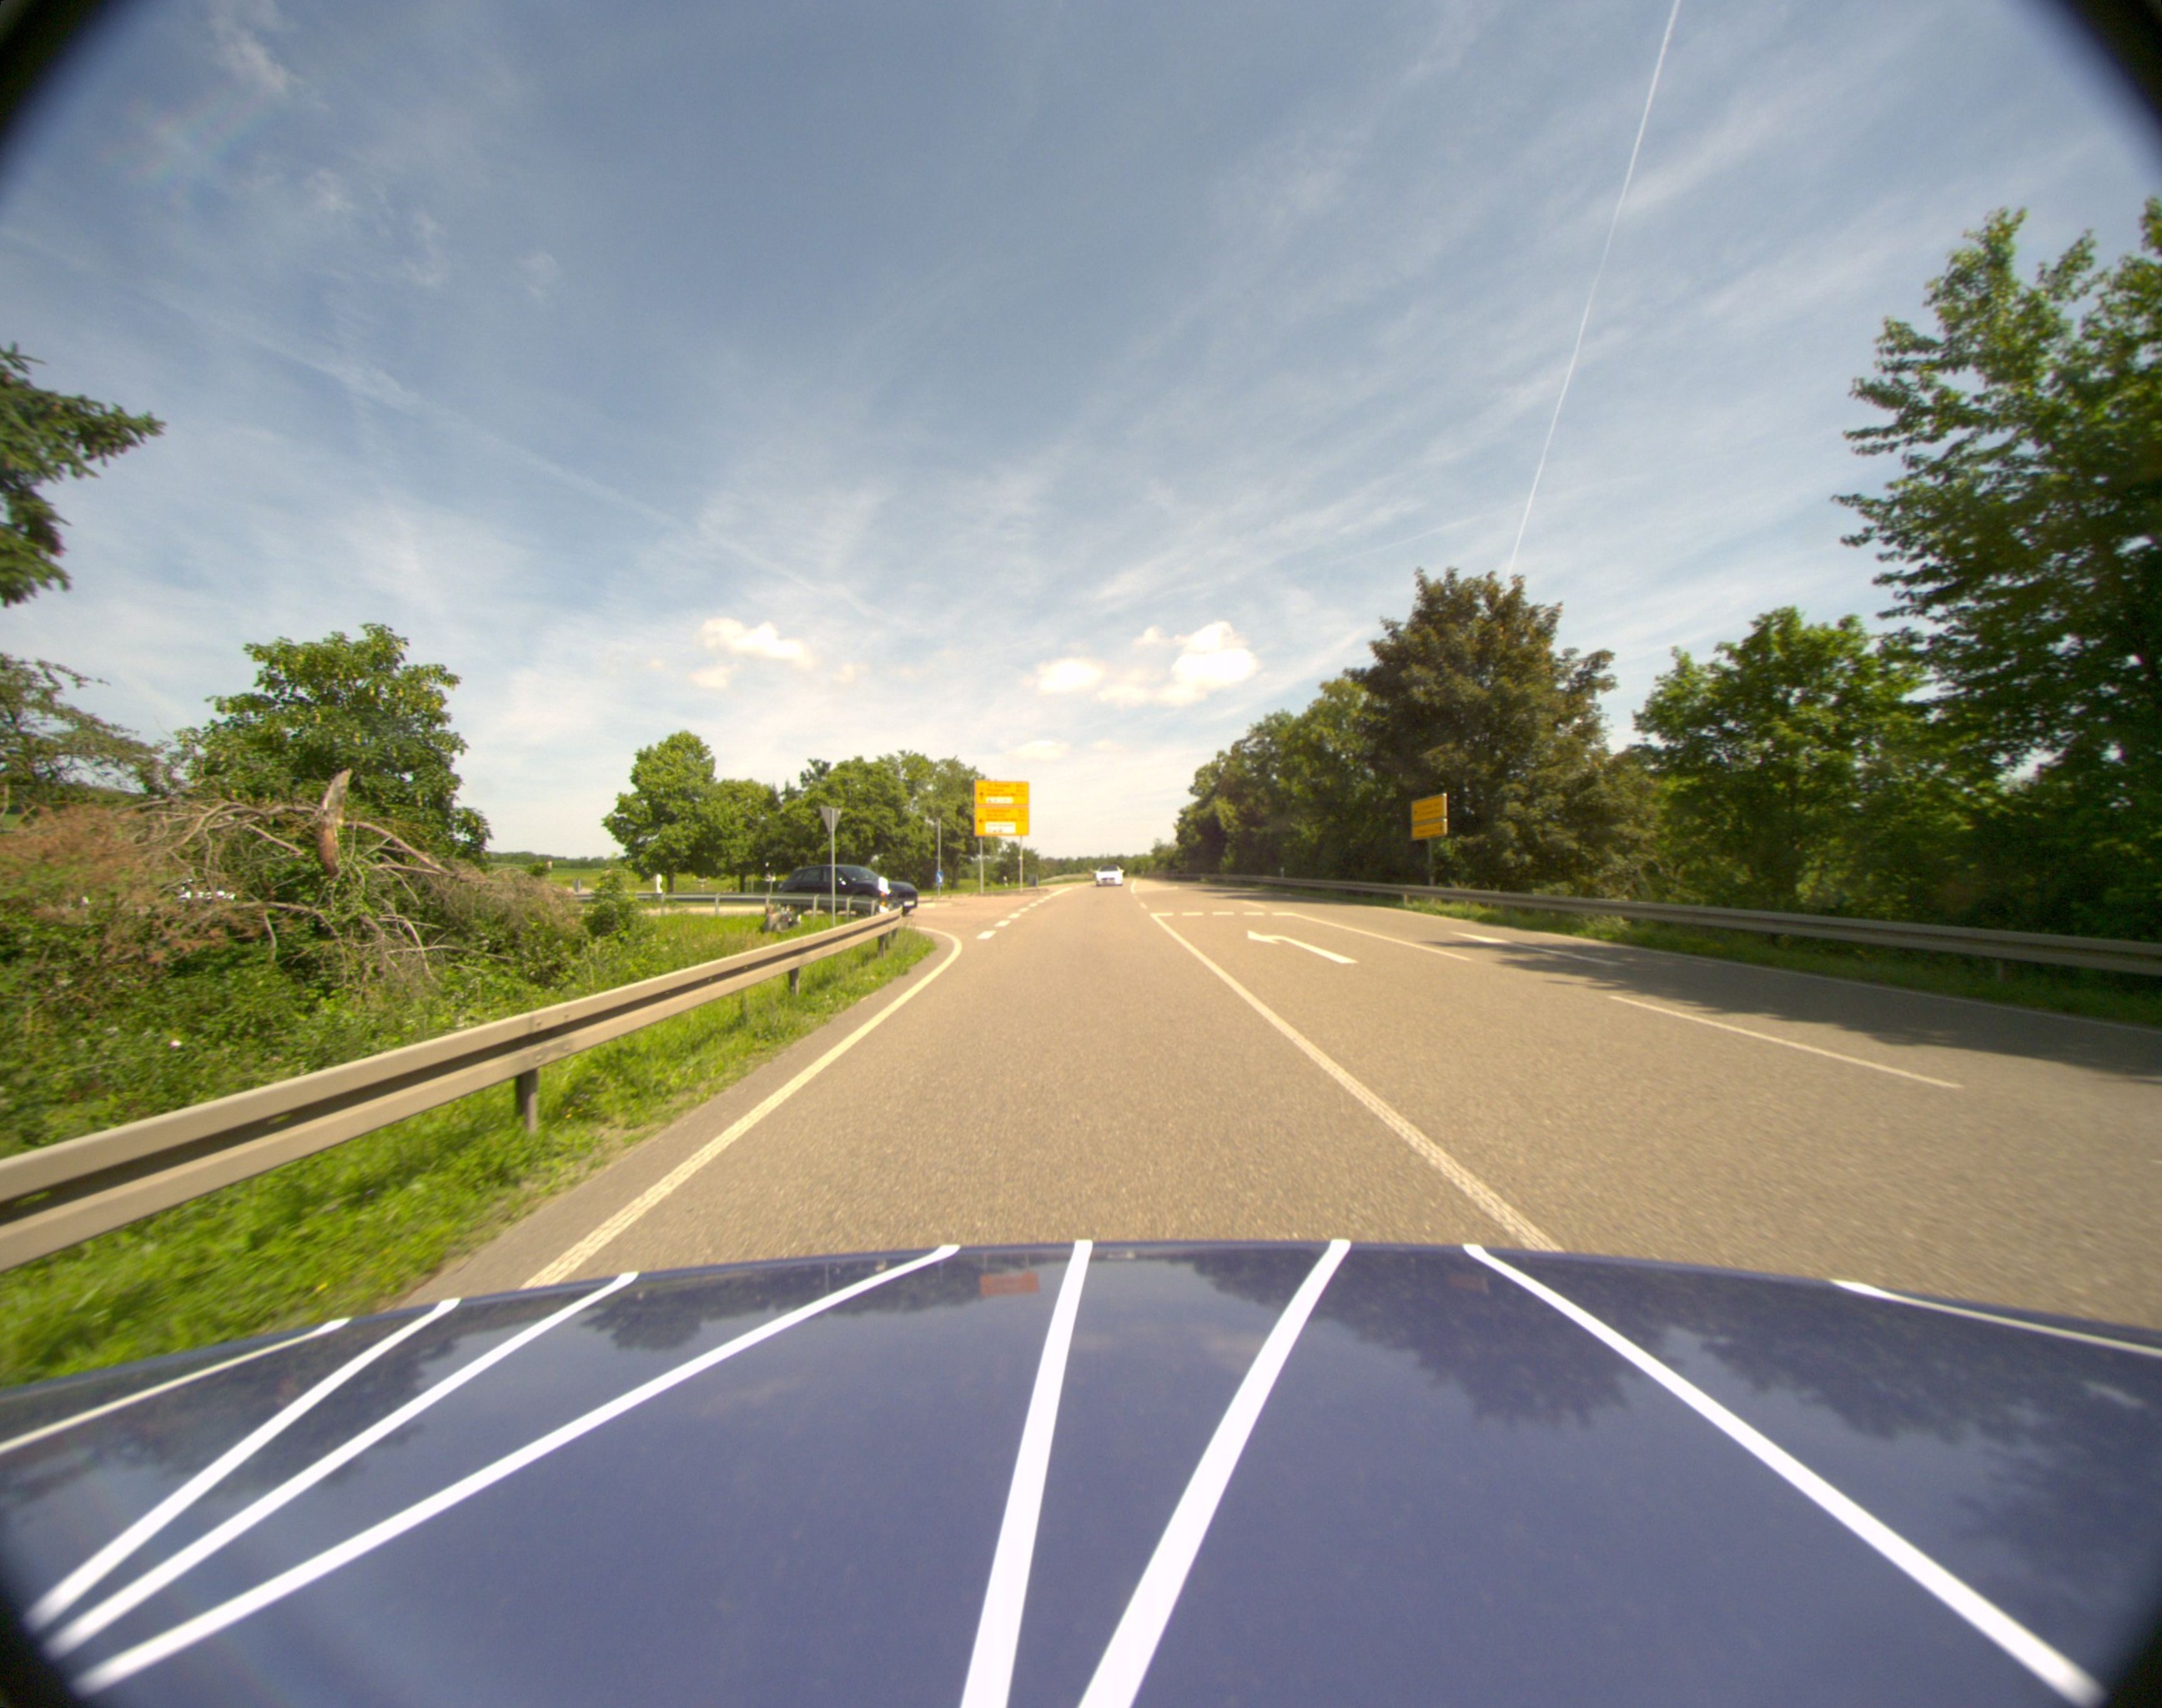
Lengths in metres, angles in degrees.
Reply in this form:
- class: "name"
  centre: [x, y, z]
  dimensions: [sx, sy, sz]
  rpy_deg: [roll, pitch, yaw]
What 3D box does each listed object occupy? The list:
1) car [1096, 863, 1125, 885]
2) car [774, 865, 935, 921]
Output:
- class: "car"
  centre: [2.015, 1.373, 53.162]
  dimensions: [1.929, 1.441, 4.535]
  rpy_deg: [-1, -1, 1]
- class: "car"
  centre: [-6.976, 1.186, 23.446]
  dimensions: [4.419, 1.580, 2.067]
  rpy_deg: [-2, 0, 22]
